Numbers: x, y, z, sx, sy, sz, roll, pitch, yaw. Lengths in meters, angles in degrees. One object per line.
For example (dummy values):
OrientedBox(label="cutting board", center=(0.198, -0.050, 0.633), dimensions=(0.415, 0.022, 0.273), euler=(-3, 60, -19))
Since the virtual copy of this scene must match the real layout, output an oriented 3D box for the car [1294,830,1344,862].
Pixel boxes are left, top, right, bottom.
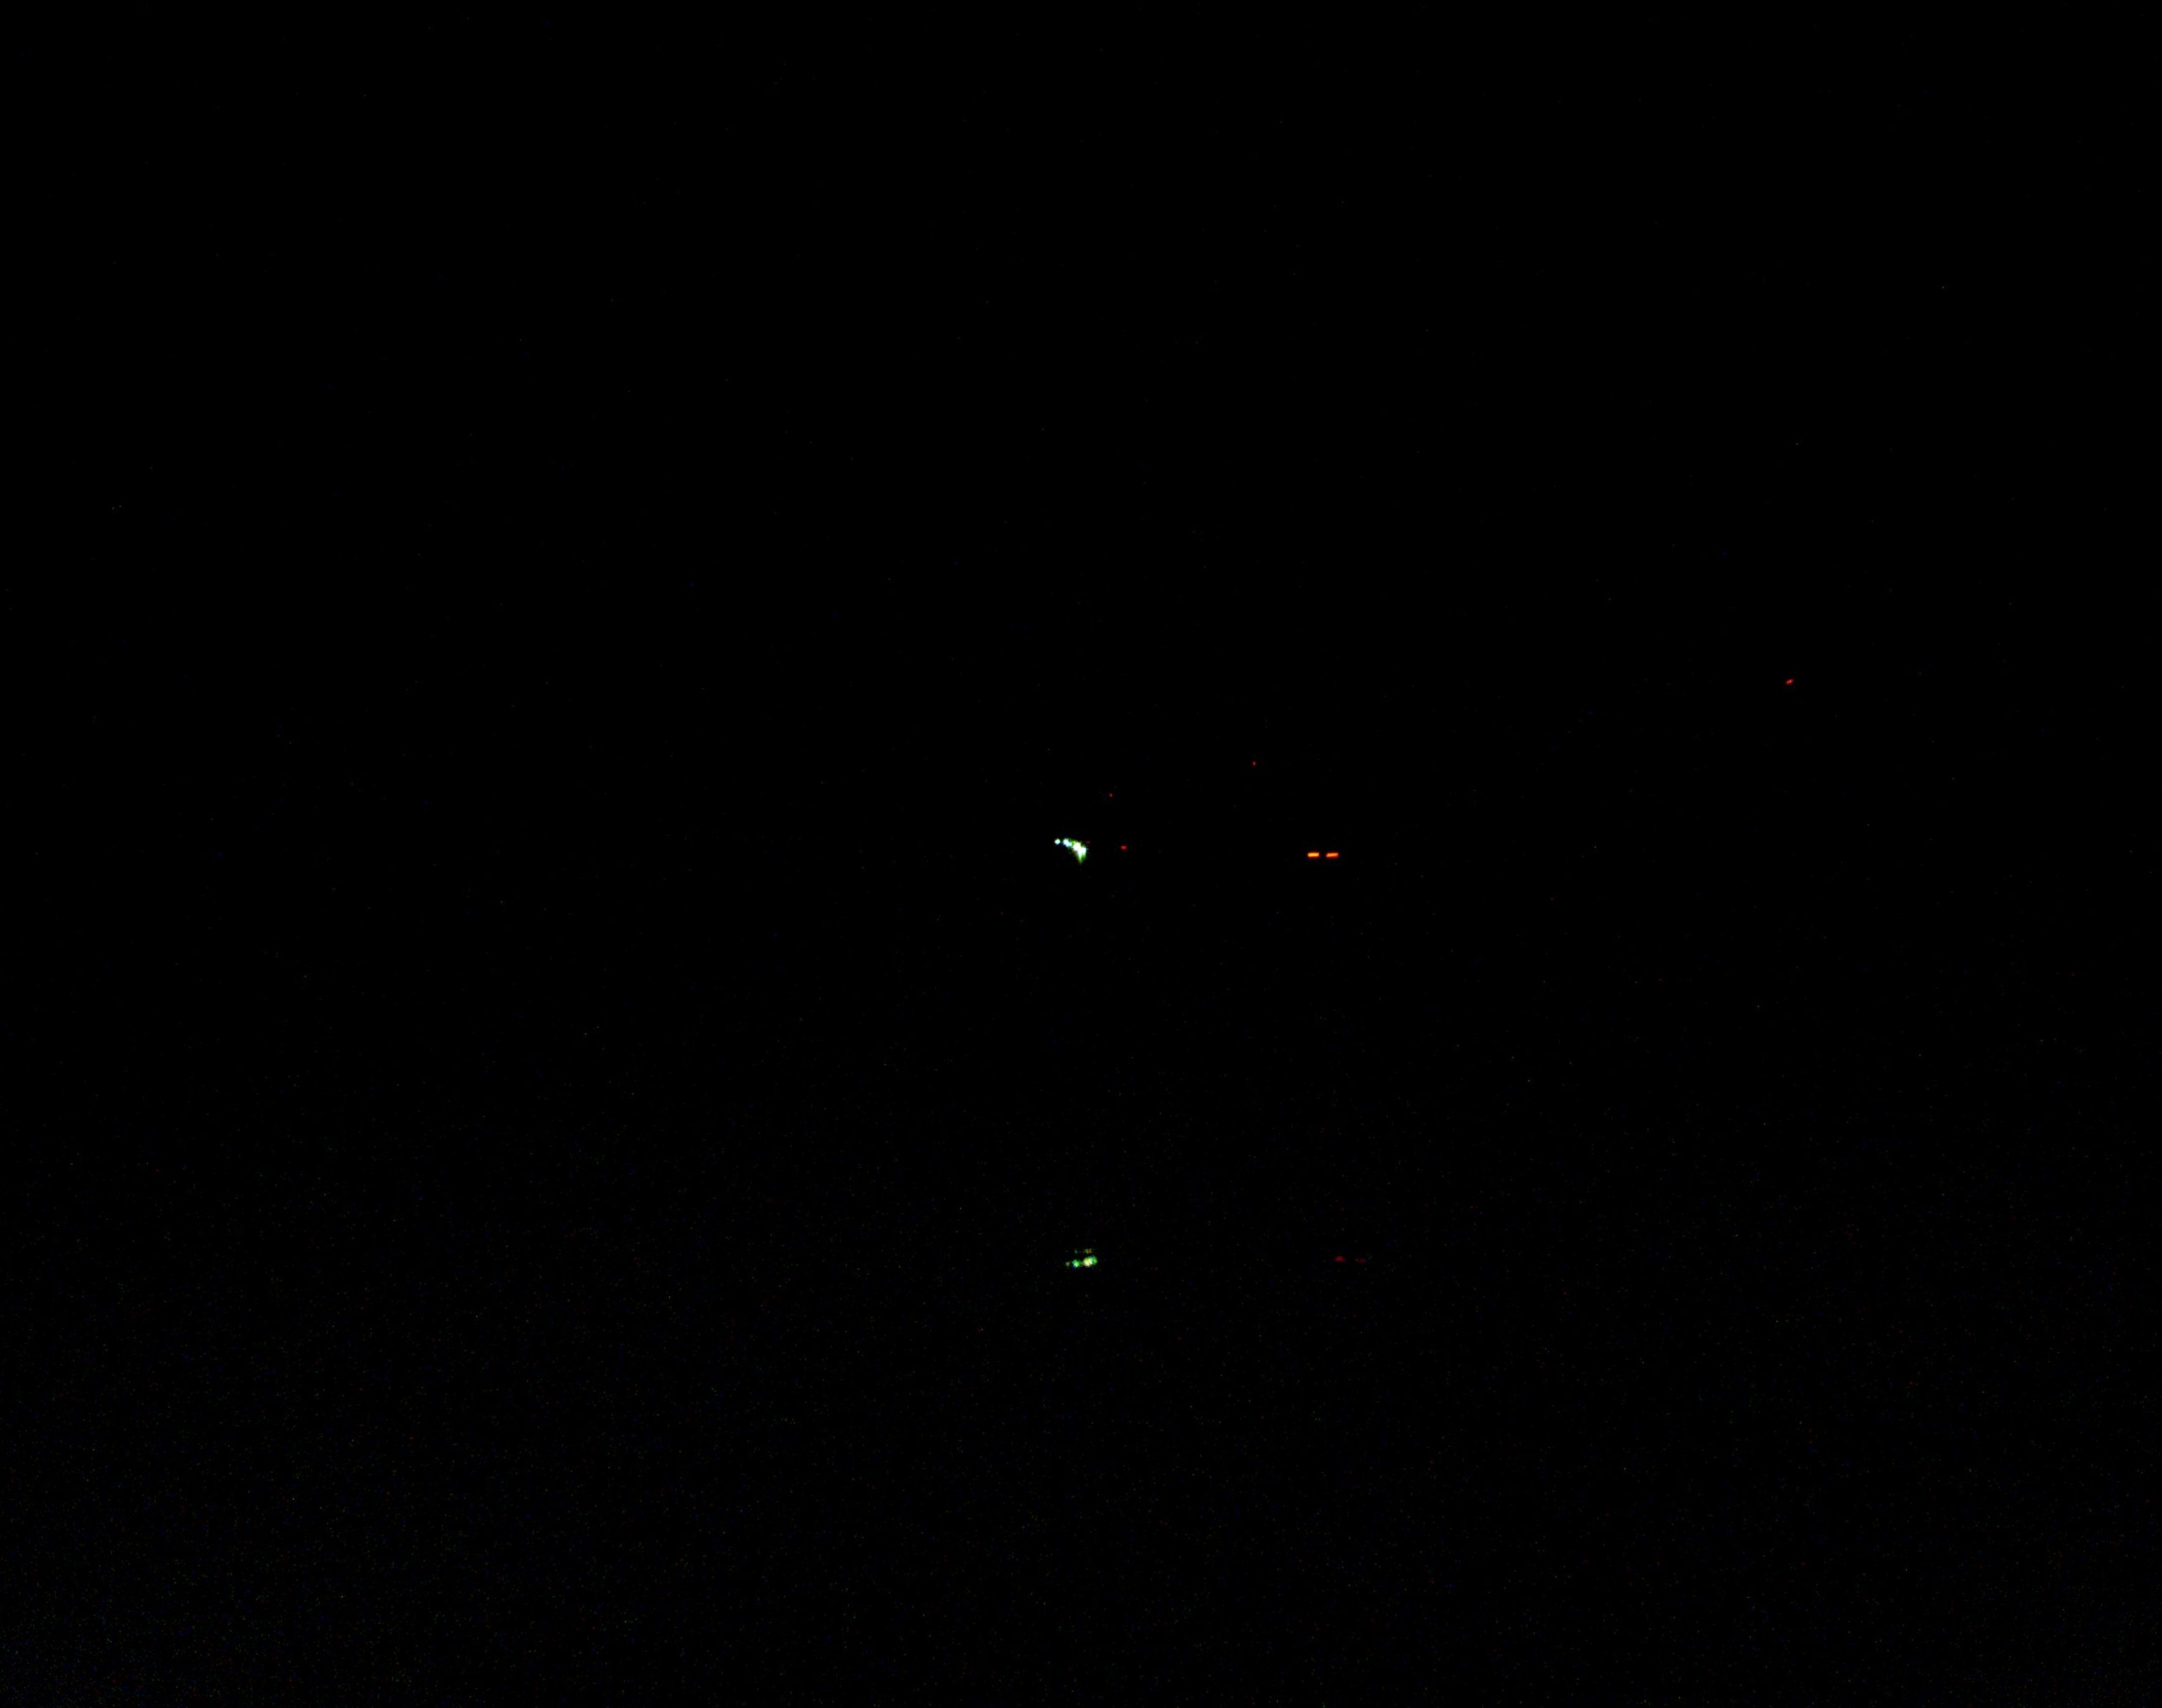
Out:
OrientedBox(label="car", center=(23.471, -0.791, 75.164), dimensions=(2.853, 2.921, 6.600), euler=(-2, 1, 1))
